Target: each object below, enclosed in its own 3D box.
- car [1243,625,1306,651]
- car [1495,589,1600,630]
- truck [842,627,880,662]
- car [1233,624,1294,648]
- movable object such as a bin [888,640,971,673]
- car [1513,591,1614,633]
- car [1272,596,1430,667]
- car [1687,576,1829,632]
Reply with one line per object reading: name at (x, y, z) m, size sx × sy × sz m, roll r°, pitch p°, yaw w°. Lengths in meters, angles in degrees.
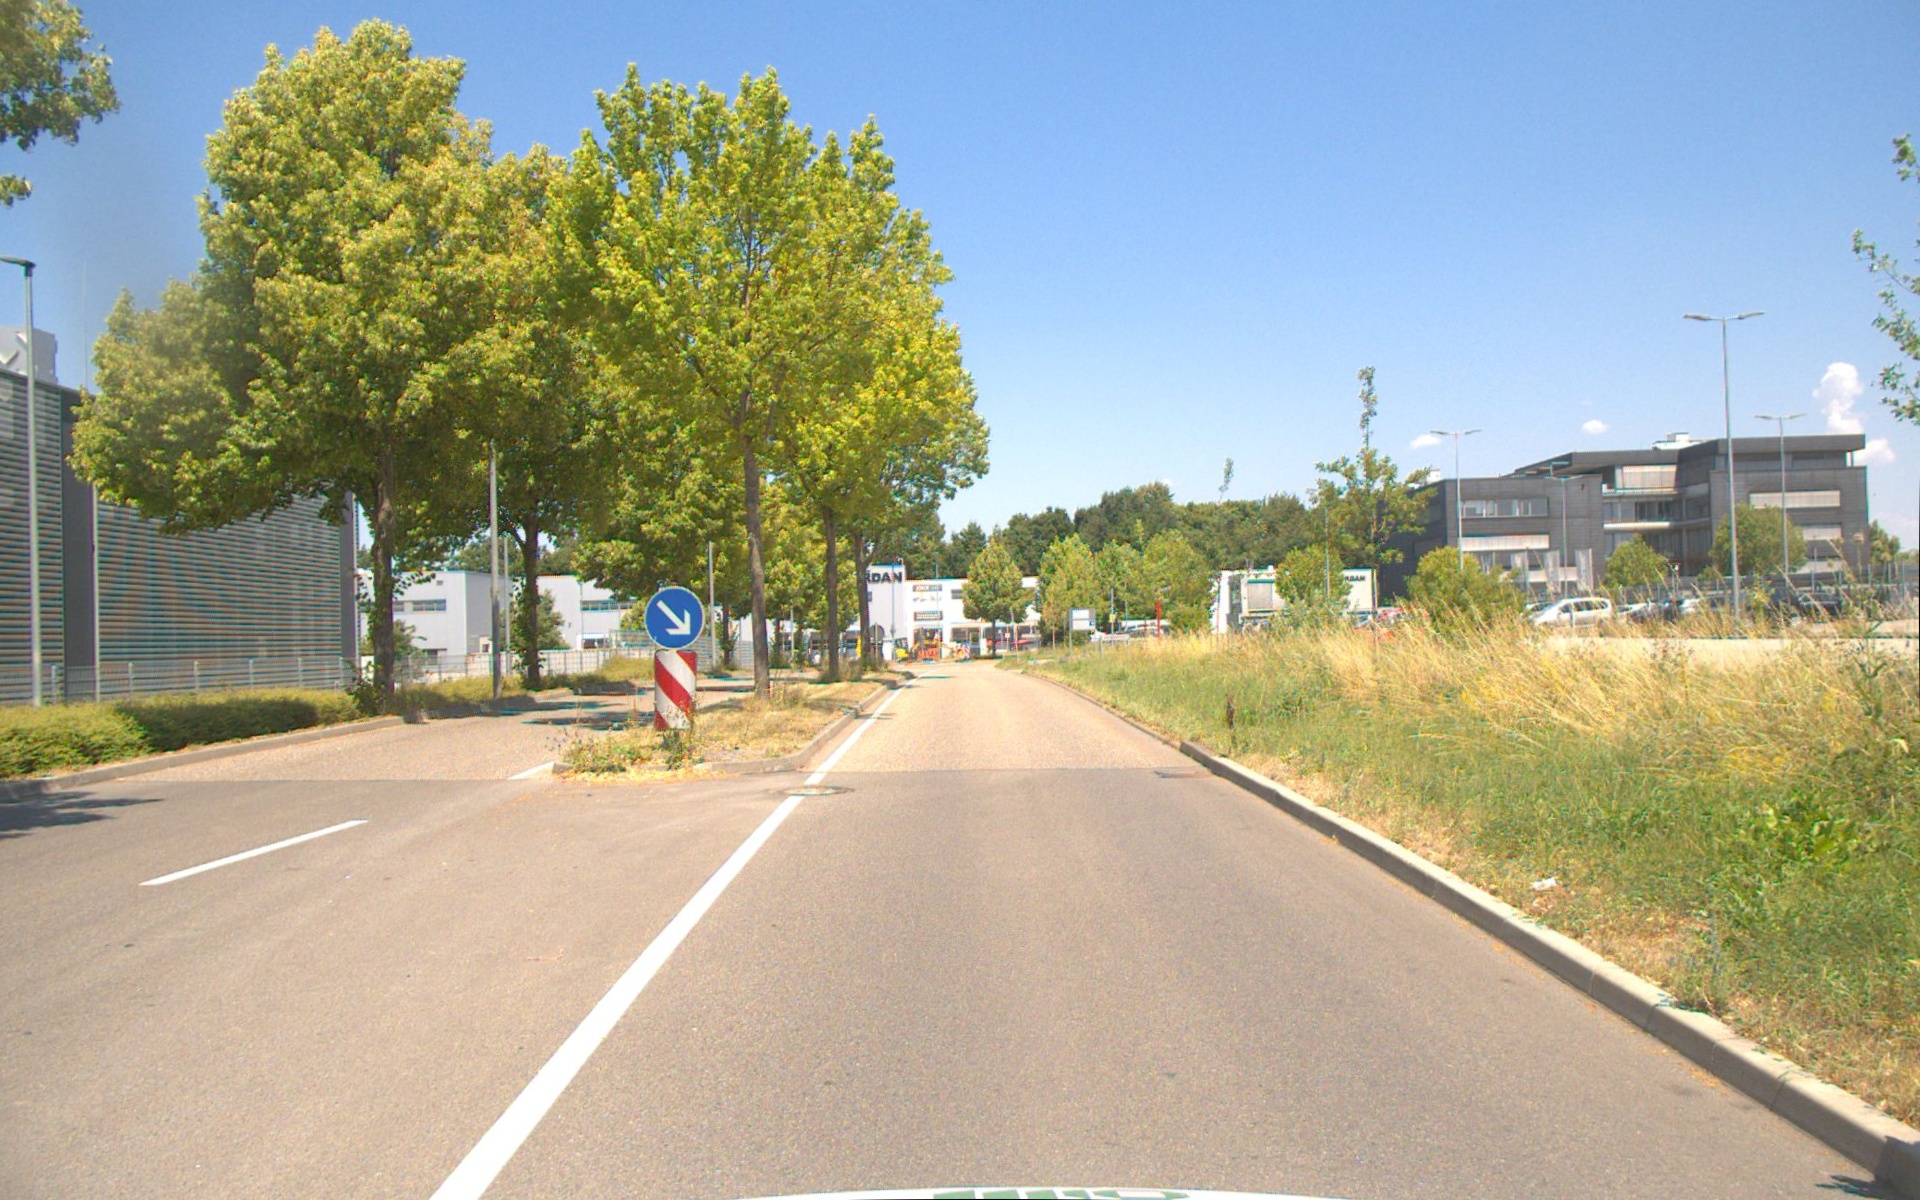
car at (21.899, 2.640, 115.153) m, size 3.909 × 1.424 × 1.767 m, roll -4°, pitch 2°, yaw -4°
car at (27.874, 0.440, 78.561) m, size 4.281 × 1.623 × 1.767 m, roll -4°, pitch 2°, yaw -4°
truck at (-9.444, 4.205, 157.519) m, size 2.885 × 2.936 × 5.798 m, roll -4°, pitch 2°, yaw -9°
car at (21.628, 2.574, 118.034) m, size 3.909 × 1.424 × 1.767 m, roll -4°, pitch 2°, yaw -4°
movable object such as a bin at (-2.891, 5.418, 158.472) m, size 7.366 × 2.543 × 3.669 m, roll -3°, pitch 2°, yaw 7°
car at (27.641, 0.535, 75.805) m, size 3.909 × 1.623 × 1.767 m, roll -4°, pitch 2°, yaw -4°
car at (10.985, 0.893, 46.670) m, size 3.906 × 1.754 × 1.926 m, roll -3°, pitch -2°, yaw -1°
car at (27.476, 0.144, 57.024) m, size 3.906 × 1.670 × 1.926 m, roll -3°, pitch -2°, yaw -1°
